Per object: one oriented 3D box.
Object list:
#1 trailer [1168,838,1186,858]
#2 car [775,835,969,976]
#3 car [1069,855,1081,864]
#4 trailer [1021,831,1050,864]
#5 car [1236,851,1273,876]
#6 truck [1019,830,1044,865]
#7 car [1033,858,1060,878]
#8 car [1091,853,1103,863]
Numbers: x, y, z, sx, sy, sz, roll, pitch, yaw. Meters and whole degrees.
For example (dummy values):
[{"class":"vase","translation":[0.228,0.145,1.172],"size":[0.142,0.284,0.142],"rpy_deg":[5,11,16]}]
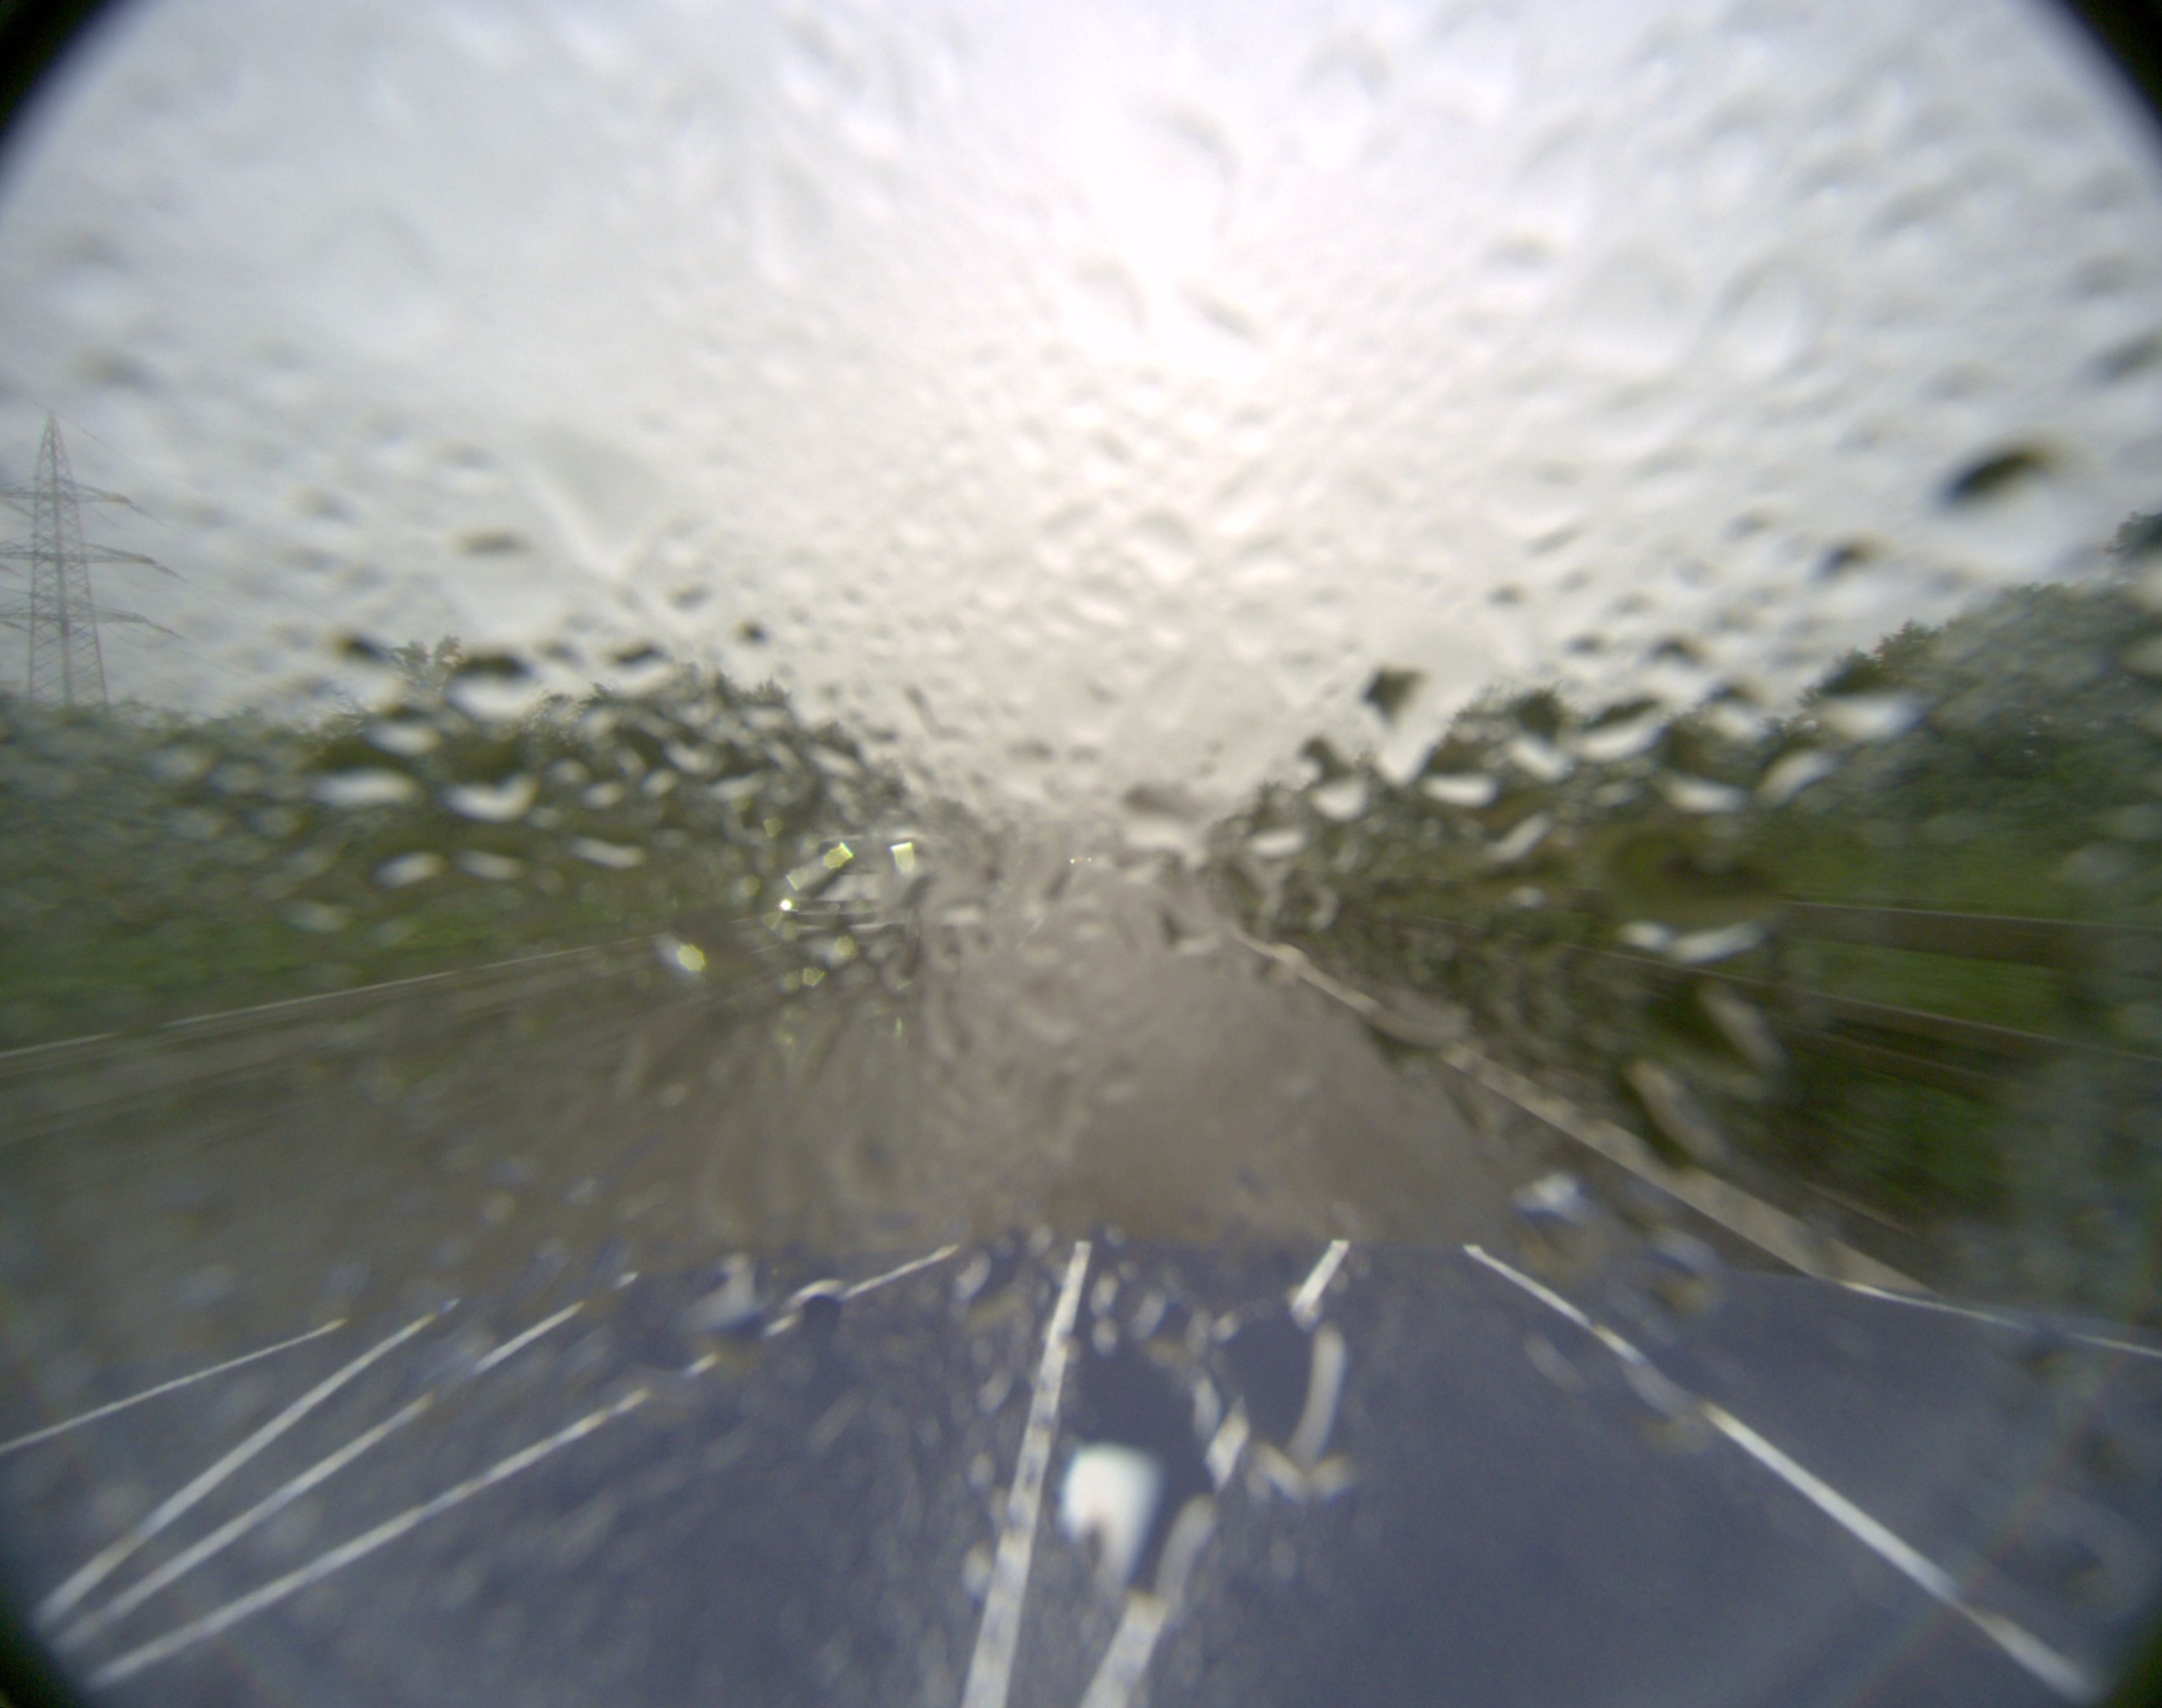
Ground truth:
[{"class":"trailer","translation":[20.818,-1.316,164.622],"size":[2.704,4.206,8.489],"rpy_deg":[-2,0,1]},{"class":"car","translation":[-3.229,0.700,12.890],"size":[1.892,1.873,5.008],"rpy_deg":[-2,0,-1]},{"class":"car","translation":[-0.997,0.899,123.999],"size":[1.769,1.448,3.959],"rpy_deg":[-2,0,1]},{"class":"trailer","translation":[-5.949,-0.816,102.111],"size":[2.618,4.064,13.791],"rpy_deg":[-2,0,1]},{"class":"car","translation":[14.287,0.764,62.779],"size":[1.998,1.886,4.805],"rpy_deg":[-2,0,1]},{"class":"truck","translation":[-6.117,-0.798,94.912],"size":[2.618,4.064,5.238],"rpy_deg":[-2,0,1]},{"class":"car","translation":[-2.644,1.047,58.831],"size":[1.769,1.448,3.959],"rpy_deg":[-2,0,1]},{"class":"car","translation":[2.550,0.643,118.389],"size":[1.769,1.448,3.959],"rpy_deg":[-2,0,1]}]
